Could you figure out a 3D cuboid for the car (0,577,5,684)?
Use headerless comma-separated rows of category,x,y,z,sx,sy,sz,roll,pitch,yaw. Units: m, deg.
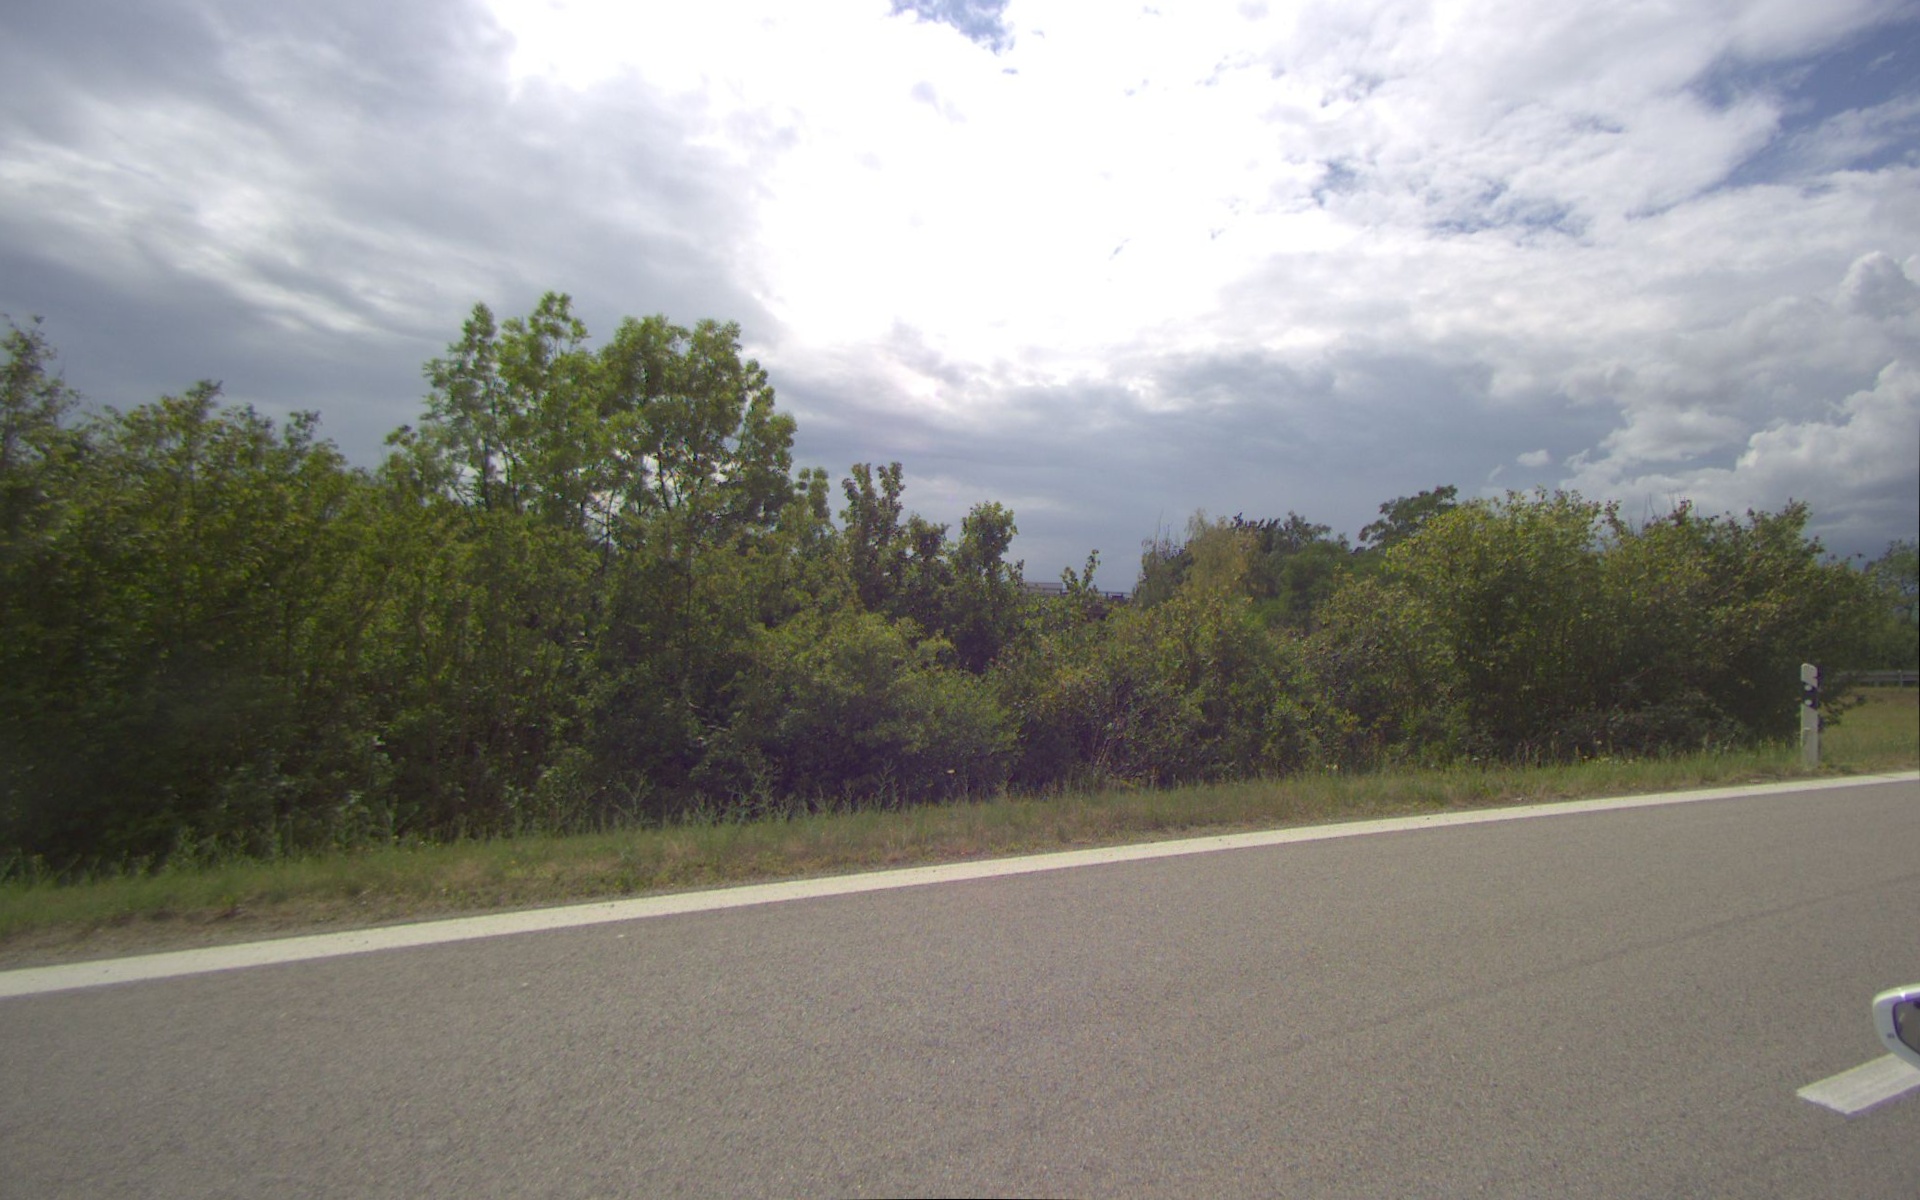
car,-4.348,0.625,0.995,4.536,1.598,2.010,2,-2,-32
